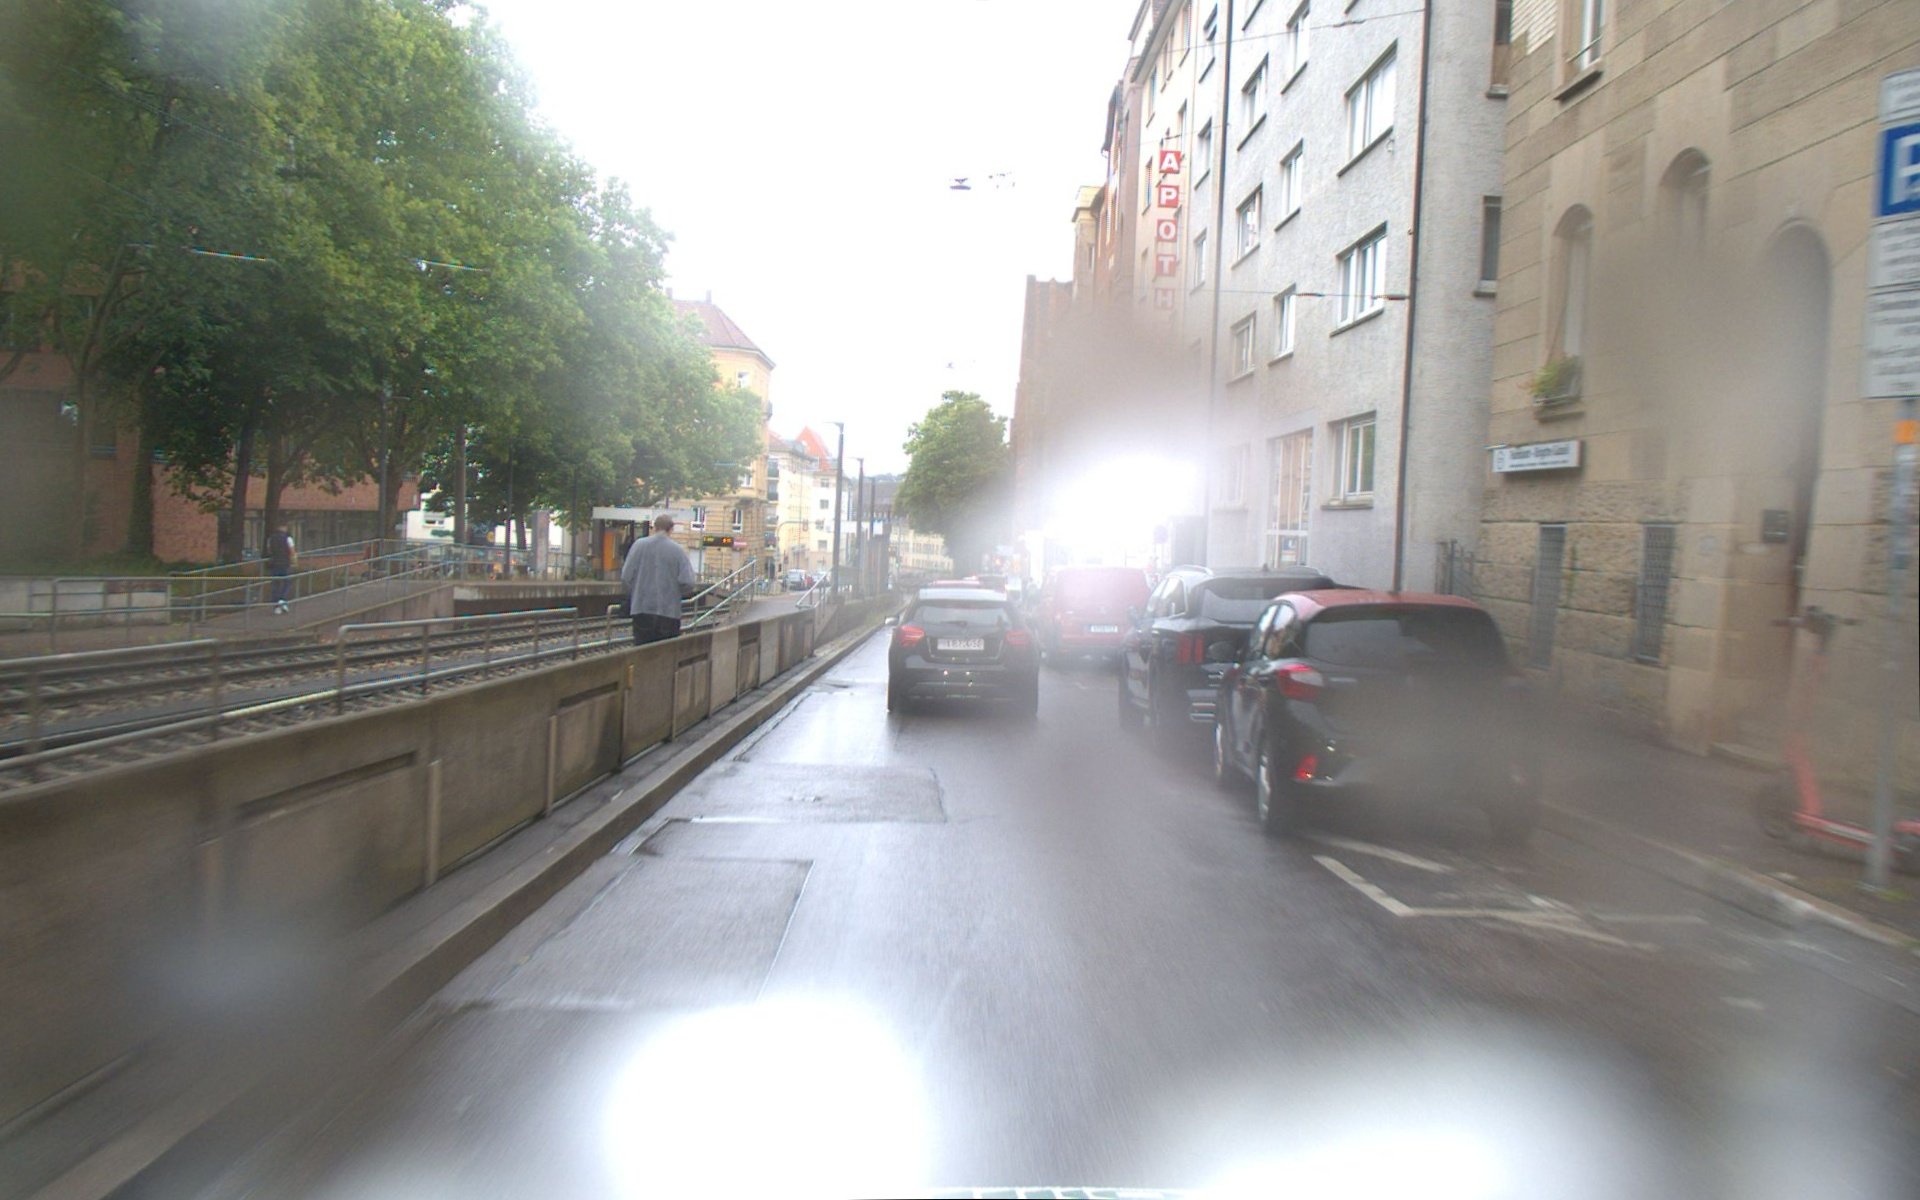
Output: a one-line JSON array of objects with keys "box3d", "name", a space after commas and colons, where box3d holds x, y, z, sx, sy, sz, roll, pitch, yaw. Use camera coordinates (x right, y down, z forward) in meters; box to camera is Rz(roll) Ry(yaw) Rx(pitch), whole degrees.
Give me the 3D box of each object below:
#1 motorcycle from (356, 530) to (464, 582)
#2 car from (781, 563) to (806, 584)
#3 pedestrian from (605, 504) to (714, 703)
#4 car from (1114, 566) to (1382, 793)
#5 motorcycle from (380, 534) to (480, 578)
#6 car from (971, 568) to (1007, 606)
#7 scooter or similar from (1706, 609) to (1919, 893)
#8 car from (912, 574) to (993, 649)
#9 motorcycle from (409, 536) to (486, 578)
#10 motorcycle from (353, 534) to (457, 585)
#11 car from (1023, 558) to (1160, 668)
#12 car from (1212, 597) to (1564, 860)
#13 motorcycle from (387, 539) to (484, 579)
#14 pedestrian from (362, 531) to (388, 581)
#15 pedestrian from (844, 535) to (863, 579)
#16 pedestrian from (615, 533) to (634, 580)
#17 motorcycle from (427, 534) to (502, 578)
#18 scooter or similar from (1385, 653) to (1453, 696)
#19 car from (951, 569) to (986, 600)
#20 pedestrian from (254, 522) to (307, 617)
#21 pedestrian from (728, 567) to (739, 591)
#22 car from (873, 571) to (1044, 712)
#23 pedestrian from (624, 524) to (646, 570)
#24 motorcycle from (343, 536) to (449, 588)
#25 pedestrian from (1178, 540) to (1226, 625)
[{"box3d": [-21.301, -1.691, 64.135, 3.787, 1.804, 1.006, 3, 1, -3], "name": "motorcycle"}, {"box3d": [-15.776, -2.520, 156.757, 1.953, 1.892, 4.000, 1, 1, -1], "name": "car"}, {"box3d": [-2.877, 0.022, 15.904, 0.842, 1.830, 0.787, 3, 1, -1], "name": "pedestrian"}, {"box3d": [2.577, 0.613, 15.851, 1.729, 1.738, 4.500, 2, 2, 0], "name": "car"}, {"box3d": [-22.090, -1.826, 69.032, 3.787, 1.633, 1.006, 3, 1, -3], "name": "motorcycle"}, {"box3d": [1.574, -0.745, 91.544, 1.881, 1.969, 4.686, 2, 1, 0], "name": "car"}, {"box3d": [4.554, 0.719, 8.593, 0.360, 1.338, 1.563, 0, 0, -13], "name": "scooter or similar"}, {"box3d": [-0.211, 0.223, 37.629, 1.646, 1.514, 3.611, 2, 2, -3], "name": "car"}, {"box3d": [-22.338, -1.887, 72.166, 2.997, 1.655, 1.006, 3, 1, -3], "name": "motorcycle"}, {"box3d": [-22.393, -1.646, 66.811, 3.787, 1.847, 1.006, 3, 1, -3], "name": "motorcycle"}, {"box3d": [2.428, 0.168, 31.784, 1.935, 1.870, 5.243, 2, 1, -3], "name": "car"}, {"box3d": [2.733, 0.739, 11.311, 1.626, 1.478, 3.611, 1, 0, 3], "name": "car"}, {"box3d": [-22.496, -1.743, 71.028, 3.787, 1.513, 1.006, 3, 1, -3], "name": "motorcycle"}, {"box3d": [-24.606, -1.838, 69.590, 0.718, 2.048, 0.980, 2, 1, -2], "name": "pedestrian"}, {"box3d": [-4.030, -1.629, 62.463, 0.485, 1.632, 0.637, 2, 1, 15], "name": "pedestrian"}, {"box3d": [-12.937, -1.679, 63.785, 0.551, 1.745, 0.705, 3, 2, -3], "name": "pedestrian"}, {"box3d": [-22.138, -1.967, 73.943, 2.976, 1.847, 0.993, 3, 1, -3], "name": "motorcycle"}, {"box3d": [6.228, 1.007, 22.448, 0.842, 0.515, 0.257, 2, 1, 30], "name": "scooter or similar"}, {"box3d": [0.516, -1.028, 106.984, 1.895, 1.863, 4.279, 2, 2, -3], "name": "car"}, {"box3d": [-12.534, -0.574, 30.531, 0.644, 1.691, 0.688, 3, 3, -1], "name": "pedestrian"}, {"box3d": [-17.766, -1.645, 129.657, 0.745, 1.780, 0.645, 2, 2, 0], "name": "pedestrian"}, {"box3d": [-0.017, 0.425, 20.328, 1.856, 1.414, 4.001, 1, 2, 0], "name": "car"}, {"box3d": [-12.290, -2.000, 62.557, 0.673, 1.669, 0.564, 3, 2, -3], "name": "pedestrian"}, {"box3d": [-22.380, -1.499, 65.665, 3.787, 1.847, 1.006, 3, 1, -3], "name": "motorcycle"}, {"box3d": [5.291, -0.384, 36.212, 0.834, 1.787, 0.837, 3, 1, -1], "name": "pedestrian"}]
